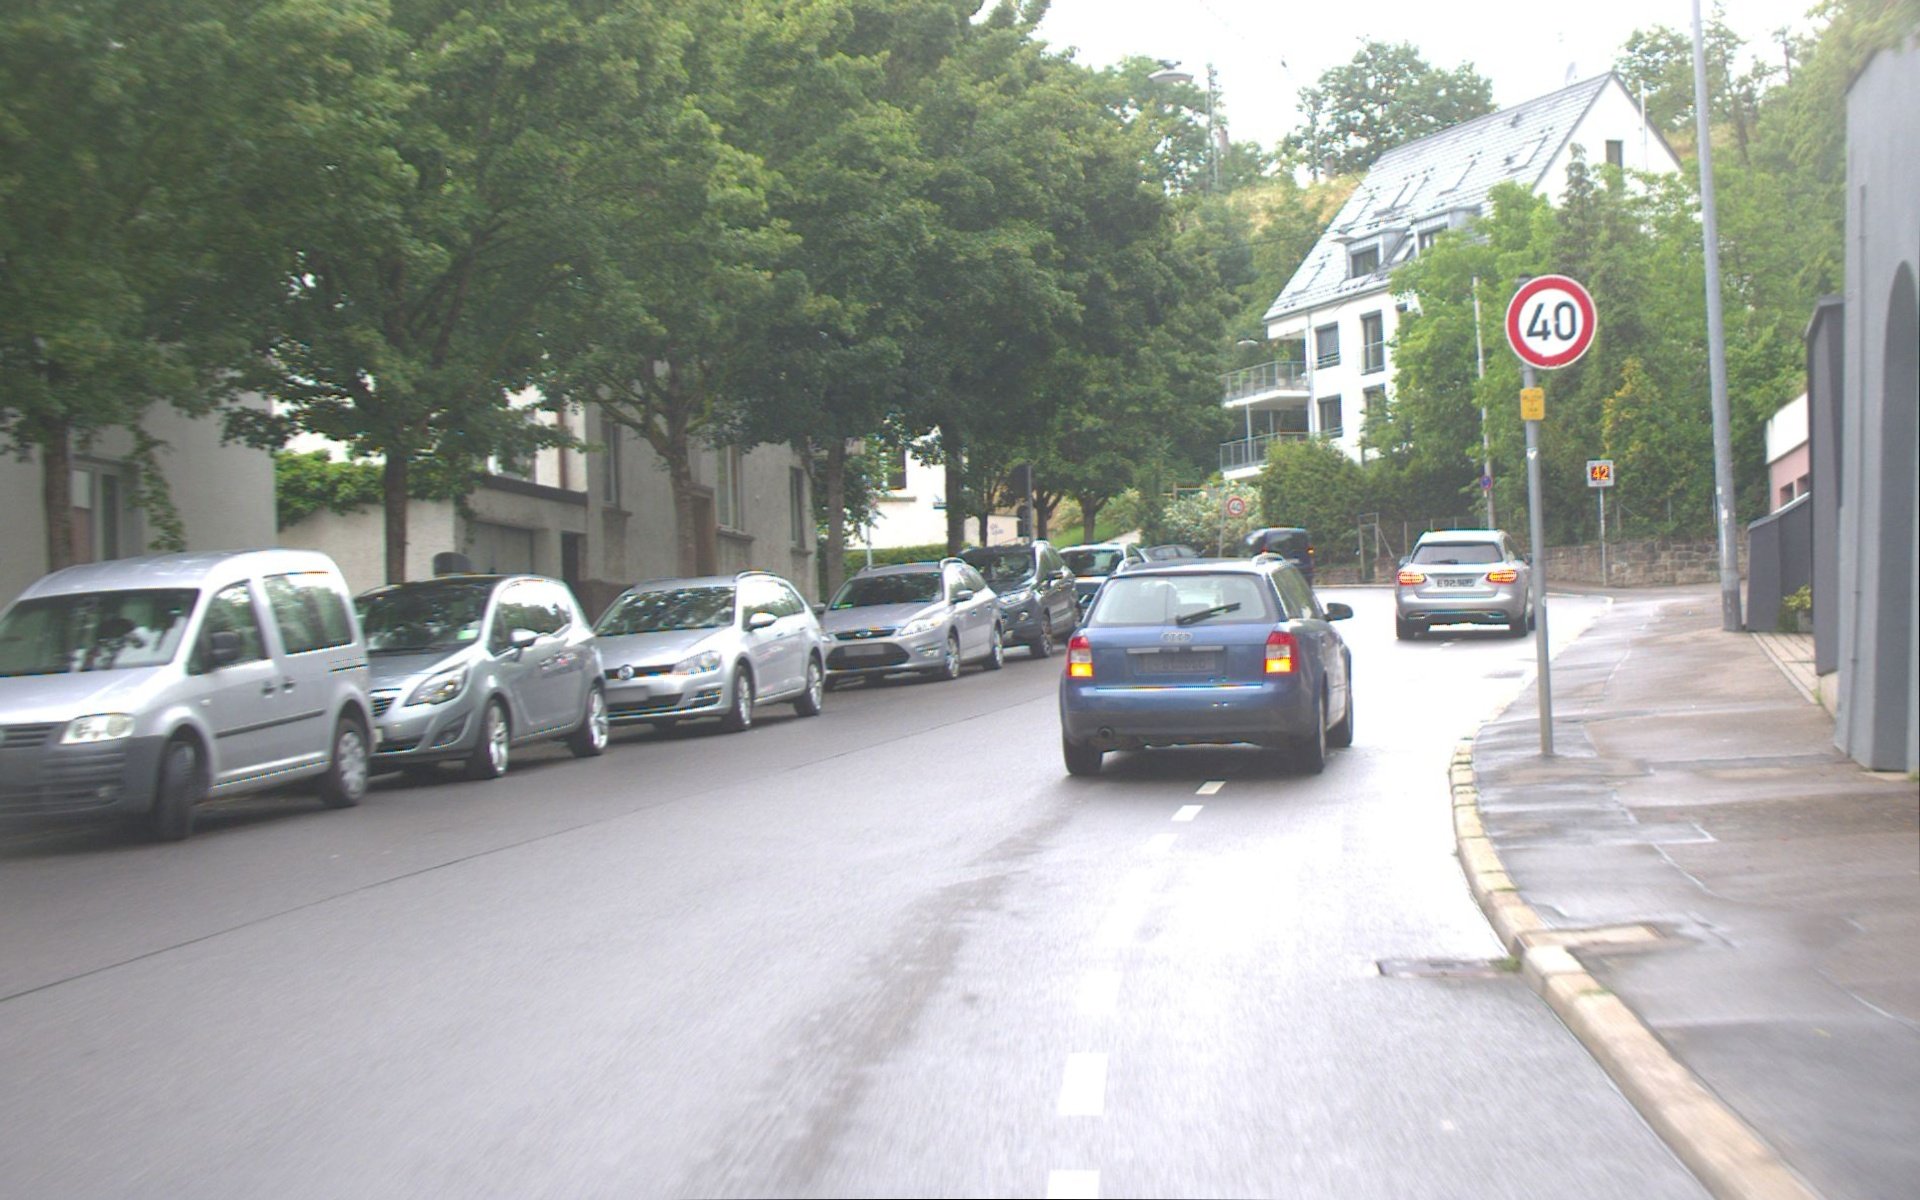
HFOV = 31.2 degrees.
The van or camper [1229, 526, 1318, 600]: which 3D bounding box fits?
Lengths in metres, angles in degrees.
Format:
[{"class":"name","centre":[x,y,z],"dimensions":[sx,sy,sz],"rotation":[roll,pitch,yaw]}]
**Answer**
[{"class":"van or camper","centre":[9.006,-1.032,98.930],"dimensions":[1.993,2.007,4.000],"rotation":[0,-1,-3]}]

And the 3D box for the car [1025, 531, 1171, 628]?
[{"class":"car","centre":[2.324,-0.369,56.957],"dimensions":[1.713,1.457,3.879],"rotation":[0,2,13]}]

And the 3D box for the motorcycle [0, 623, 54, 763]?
[{"class":"motorcycle","centre":[-7.875,0.763,27.832],"dimensions":[0.411,1.095,1.620],"rotation":[-3,1,8]}]

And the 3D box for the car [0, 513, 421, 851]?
[{"class":"car","centre":[-5.290,0.497,22.708],"dimensions":[1.915,1.994,4.546],"rotation":[-1,0,12]}]

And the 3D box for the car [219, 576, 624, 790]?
[{"class":"car","centre":[-4.210,0.621,27.584],"dimensions":[1.805,1.480,4.234],"rotation":[-4,-1,11]}]

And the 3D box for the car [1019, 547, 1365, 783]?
[{"class":"car","centre":[1.722,0.386,24.006],"dimensions":[1.855,1.409,4.360],"rotation":[-2,1,11]}]

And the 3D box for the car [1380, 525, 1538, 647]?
[{"class":"car","centre":[7.026,-0.234,48.104],"dimensions":[1.951,1.556,4.261],"rotation":[2,2,11]}]

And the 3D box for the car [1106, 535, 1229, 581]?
[{"class":"car","centre":[7.334,-1.488,121.254],"dimensions":[4.170,1.503,1.740],"rotation":[-2,1,-37]}]

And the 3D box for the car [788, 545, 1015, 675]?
[{"class":"car","centre":[-0.670,0.123,43.536],"dimensions":[1.805,1.547,4.797],"rotation":[-1,0,12]}]

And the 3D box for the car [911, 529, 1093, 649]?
[{"class":"car","centre":[0.654,-0.181,49.633],"dimensions":[1.805,1.621,4.137],"rotation":[-1,1,12]}]

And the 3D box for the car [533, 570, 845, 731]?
[{"class":"car","centre":[-2.534,0.464,33.343],"dimensions":[1.805,1.448,4.594],"rotation":[-1,0,12]}]
